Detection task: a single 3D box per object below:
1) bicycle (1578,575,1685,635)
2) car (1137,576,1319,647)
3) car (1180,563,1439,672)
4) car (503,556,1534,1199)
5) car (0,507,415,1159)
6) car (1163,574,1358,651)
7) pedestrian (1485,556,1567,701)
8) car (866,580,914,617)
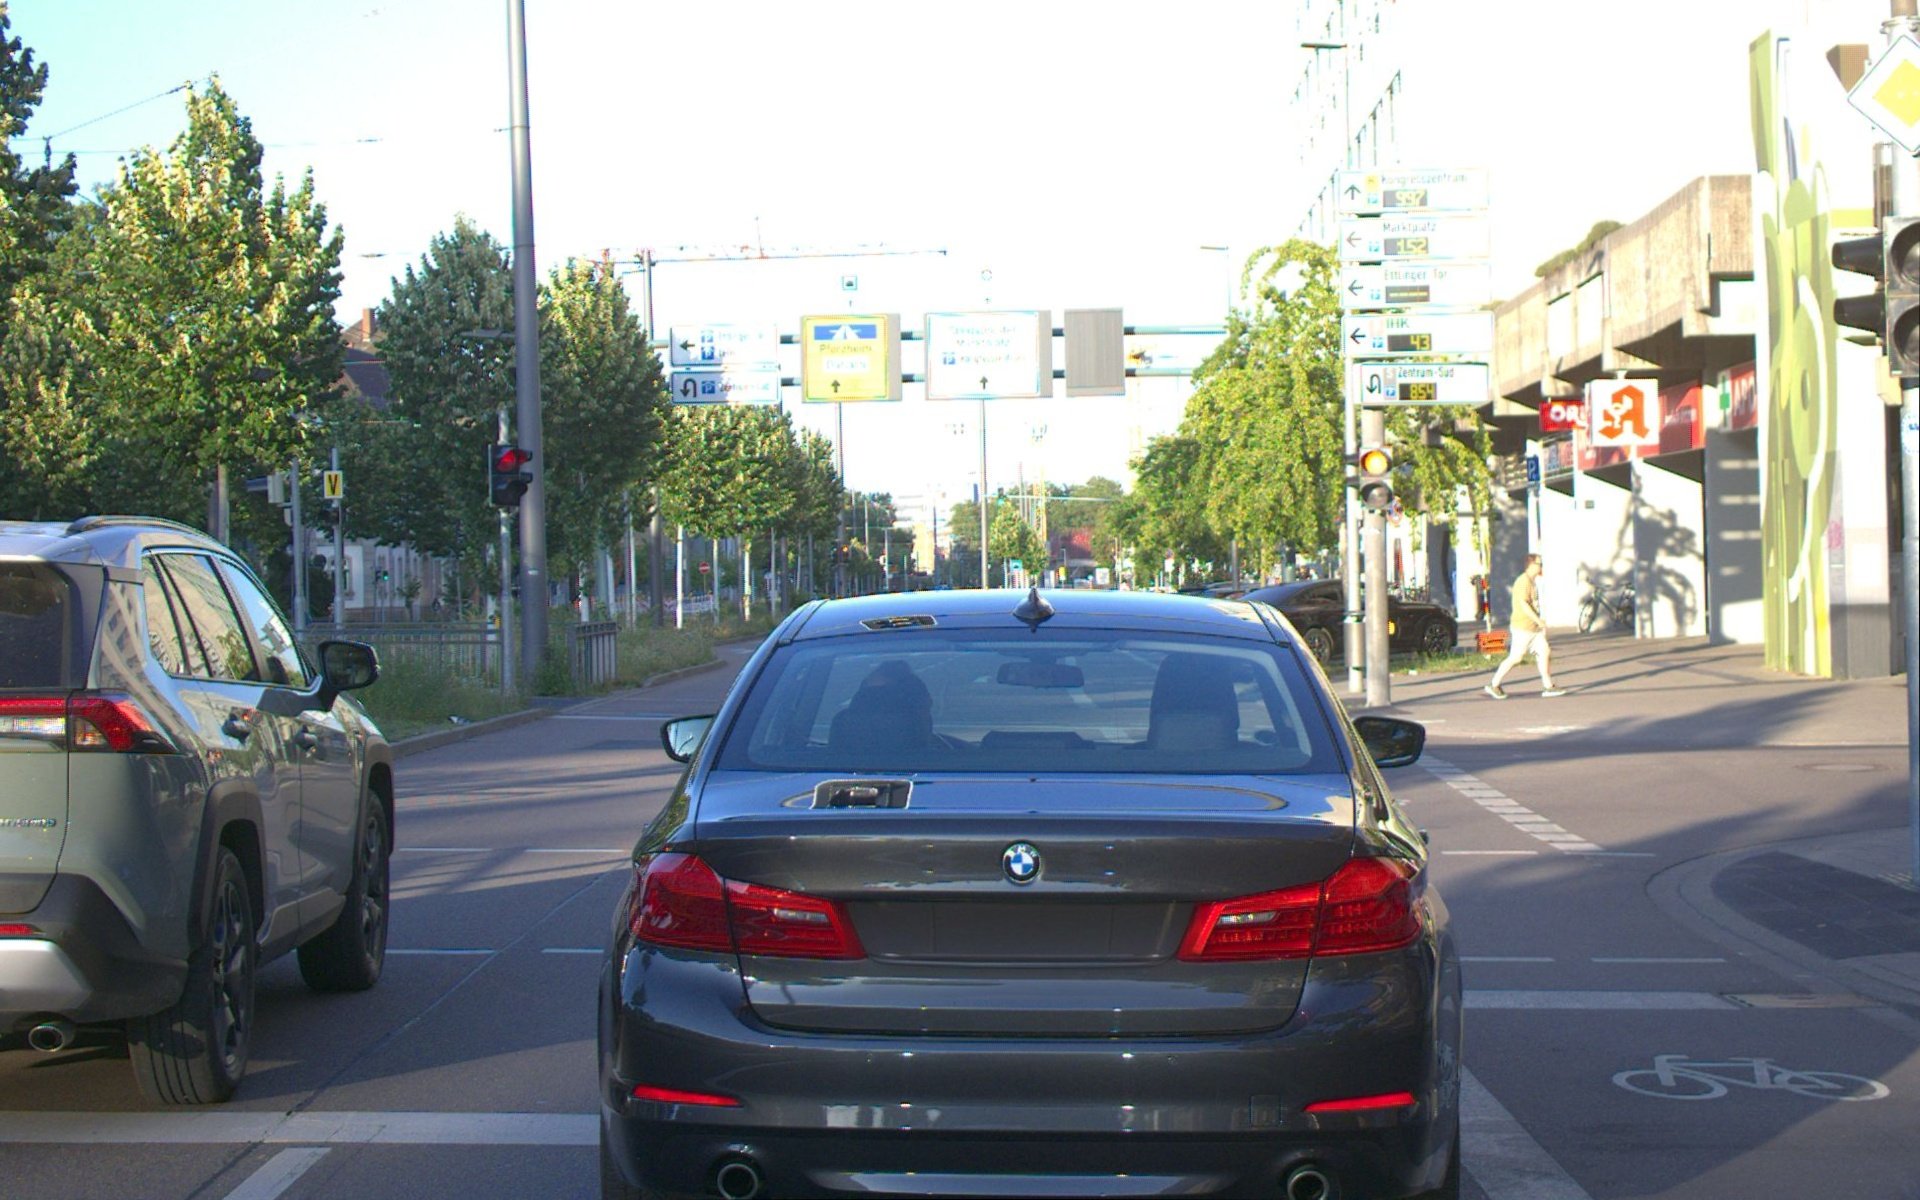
[{"bbox_3d":[13.401,0.104,68.690,2.017,1.145,0.690,2,-1,6],"label":"bicycle"},{"bbox_3d":[6.630,0.256,84.887,4.255,1.653,1.860,-1,2,-35],"label":"car"},{"bbox_3d":[5.764,0.255,56.378,4.256,1.653,1.860,-1,2,-42],"label":"car"},{"bbox_3d":[0.101,0.659,8.716,1.932,1.476,4.523,0,1,0],"label":"car"},{"bbox_3d":[-2.977,0.535,10.833,1.854,1.653,4.269,0,1,0],"label":"car"},{"bbox_3d":[6.889,0.261,78.744,4.255,1.653,1.860,-1,2,-35],"label":"car"},{"bbox_3d":[6.784,0.343,41.228,0.835,1.706,0.648,-1,0,-1],"label":"pedestrian"},{"bbox_3d":[-2.965,-0.081,146.600,1.979,1.428,4.843,0,1,0],"label":"car"}]
